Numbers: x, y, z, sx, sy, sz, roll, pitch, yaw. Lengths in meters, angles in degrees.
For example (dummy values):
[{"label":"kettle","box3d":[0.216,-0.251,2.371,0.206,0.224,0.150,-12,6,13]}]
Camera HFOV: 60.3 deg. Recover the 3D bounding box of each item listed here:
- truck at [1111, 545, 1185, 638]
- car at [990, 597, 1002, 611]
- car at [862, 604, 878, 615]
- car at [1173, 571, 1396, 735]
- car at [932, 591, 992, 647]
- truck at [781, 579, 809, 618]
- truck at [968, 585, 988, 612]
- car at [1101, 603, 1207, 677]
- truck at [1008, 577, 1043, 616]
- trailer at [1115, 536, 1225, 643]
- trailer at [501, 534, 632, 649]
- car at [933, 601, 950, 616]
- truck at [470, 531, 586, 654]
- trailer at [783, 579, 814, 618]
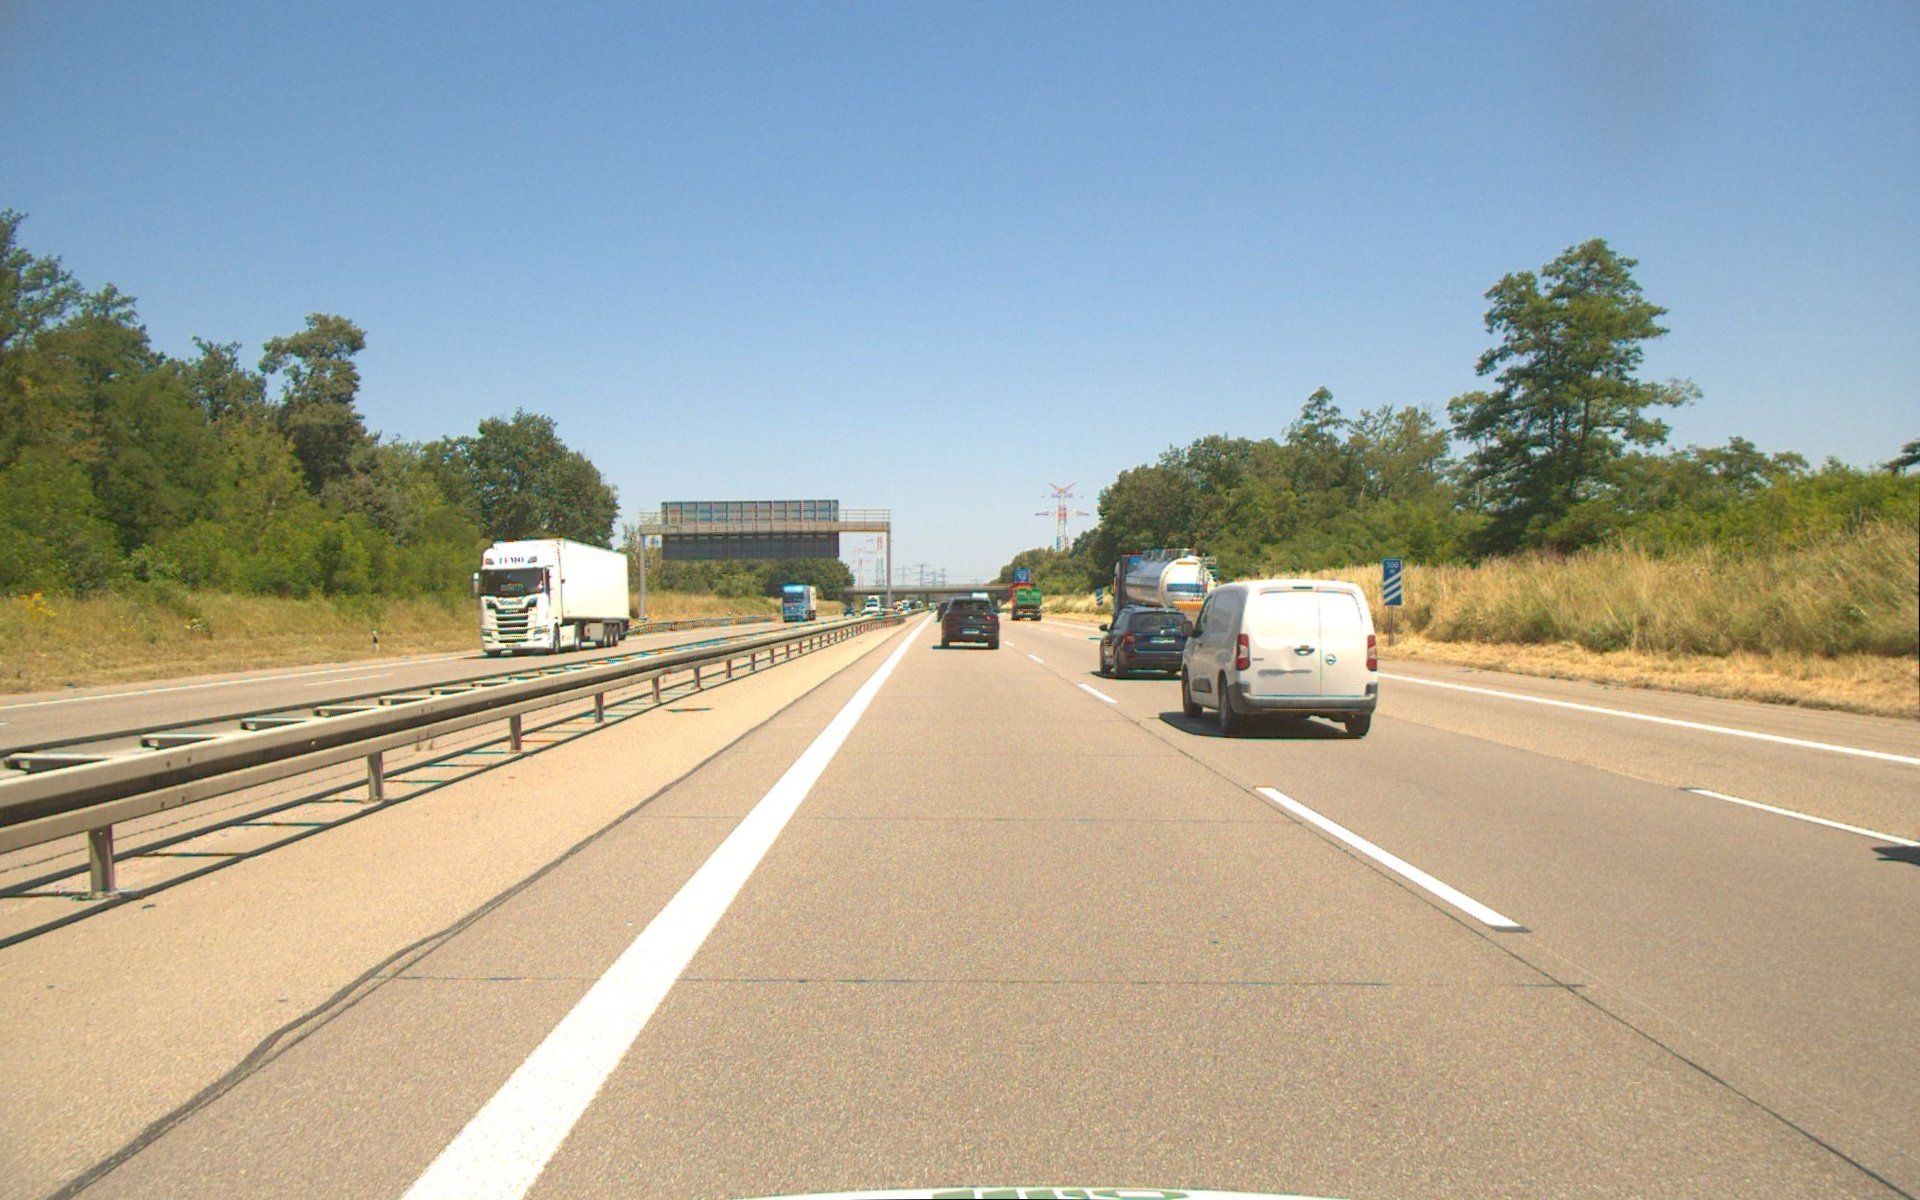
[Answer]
[{"label":"truck","box3d":[8.203,-0.366,72.622,2.628,3.904,4.443,1,0,-1]},{"label":"car","box3d":[4.890,0.506,225.345,1.493,1.836,3.625,0,0,-1]},{"label":"car","box3d":[-11.636,1.216,213.885,1.888,1.372,3.564,-2,0,-1]},{"label":"car","box3d":[4.004,0.602,21.290,1.777,1.859,5.109,0,0,-1]},{"label":"car","box3d":[0.013,0.622,57.381,1.901,1.782,5.812,1,1,-2]},{"label":"truck","box3d":[-18.485,-0.160,185.483,2.647,4.259,4.721,-2,0,-1]},{"label":"truck","box3d":[2.000,-0.118,184.235,2.018,2.965,7.001,0,0,-1]},{"label":"car","box3d":[4.069,0.807,35.288,1.738,1.498,3.871,0,0,-1]},{"label":"truck","box3d":[6.600,-0.360,167.835,2.928,3.794,10.087,1,0,-1]},{"label":"trailer","box3d":[8.298,-0.371,66.882,2.628,3.904,12.007,1,0,-1]},{"label":"trailer","box3d":[-16.099,-0.323,68.690,2.647,4.259,12.060,-2,0,-1]},{"label":"car","box3d":[-1.632,0.755,144.493,1.493,1.274,3.625,0,0,-1]},{"label":"truck","box3d":[-15.938,-0.276,61.438,2.647,4.259,6.187,-2,0,-1]},{"label":"trailer","box3d":[-18.607,-0.180,190.964,2.647,4.259,10.763,-2,0,-1]}]
